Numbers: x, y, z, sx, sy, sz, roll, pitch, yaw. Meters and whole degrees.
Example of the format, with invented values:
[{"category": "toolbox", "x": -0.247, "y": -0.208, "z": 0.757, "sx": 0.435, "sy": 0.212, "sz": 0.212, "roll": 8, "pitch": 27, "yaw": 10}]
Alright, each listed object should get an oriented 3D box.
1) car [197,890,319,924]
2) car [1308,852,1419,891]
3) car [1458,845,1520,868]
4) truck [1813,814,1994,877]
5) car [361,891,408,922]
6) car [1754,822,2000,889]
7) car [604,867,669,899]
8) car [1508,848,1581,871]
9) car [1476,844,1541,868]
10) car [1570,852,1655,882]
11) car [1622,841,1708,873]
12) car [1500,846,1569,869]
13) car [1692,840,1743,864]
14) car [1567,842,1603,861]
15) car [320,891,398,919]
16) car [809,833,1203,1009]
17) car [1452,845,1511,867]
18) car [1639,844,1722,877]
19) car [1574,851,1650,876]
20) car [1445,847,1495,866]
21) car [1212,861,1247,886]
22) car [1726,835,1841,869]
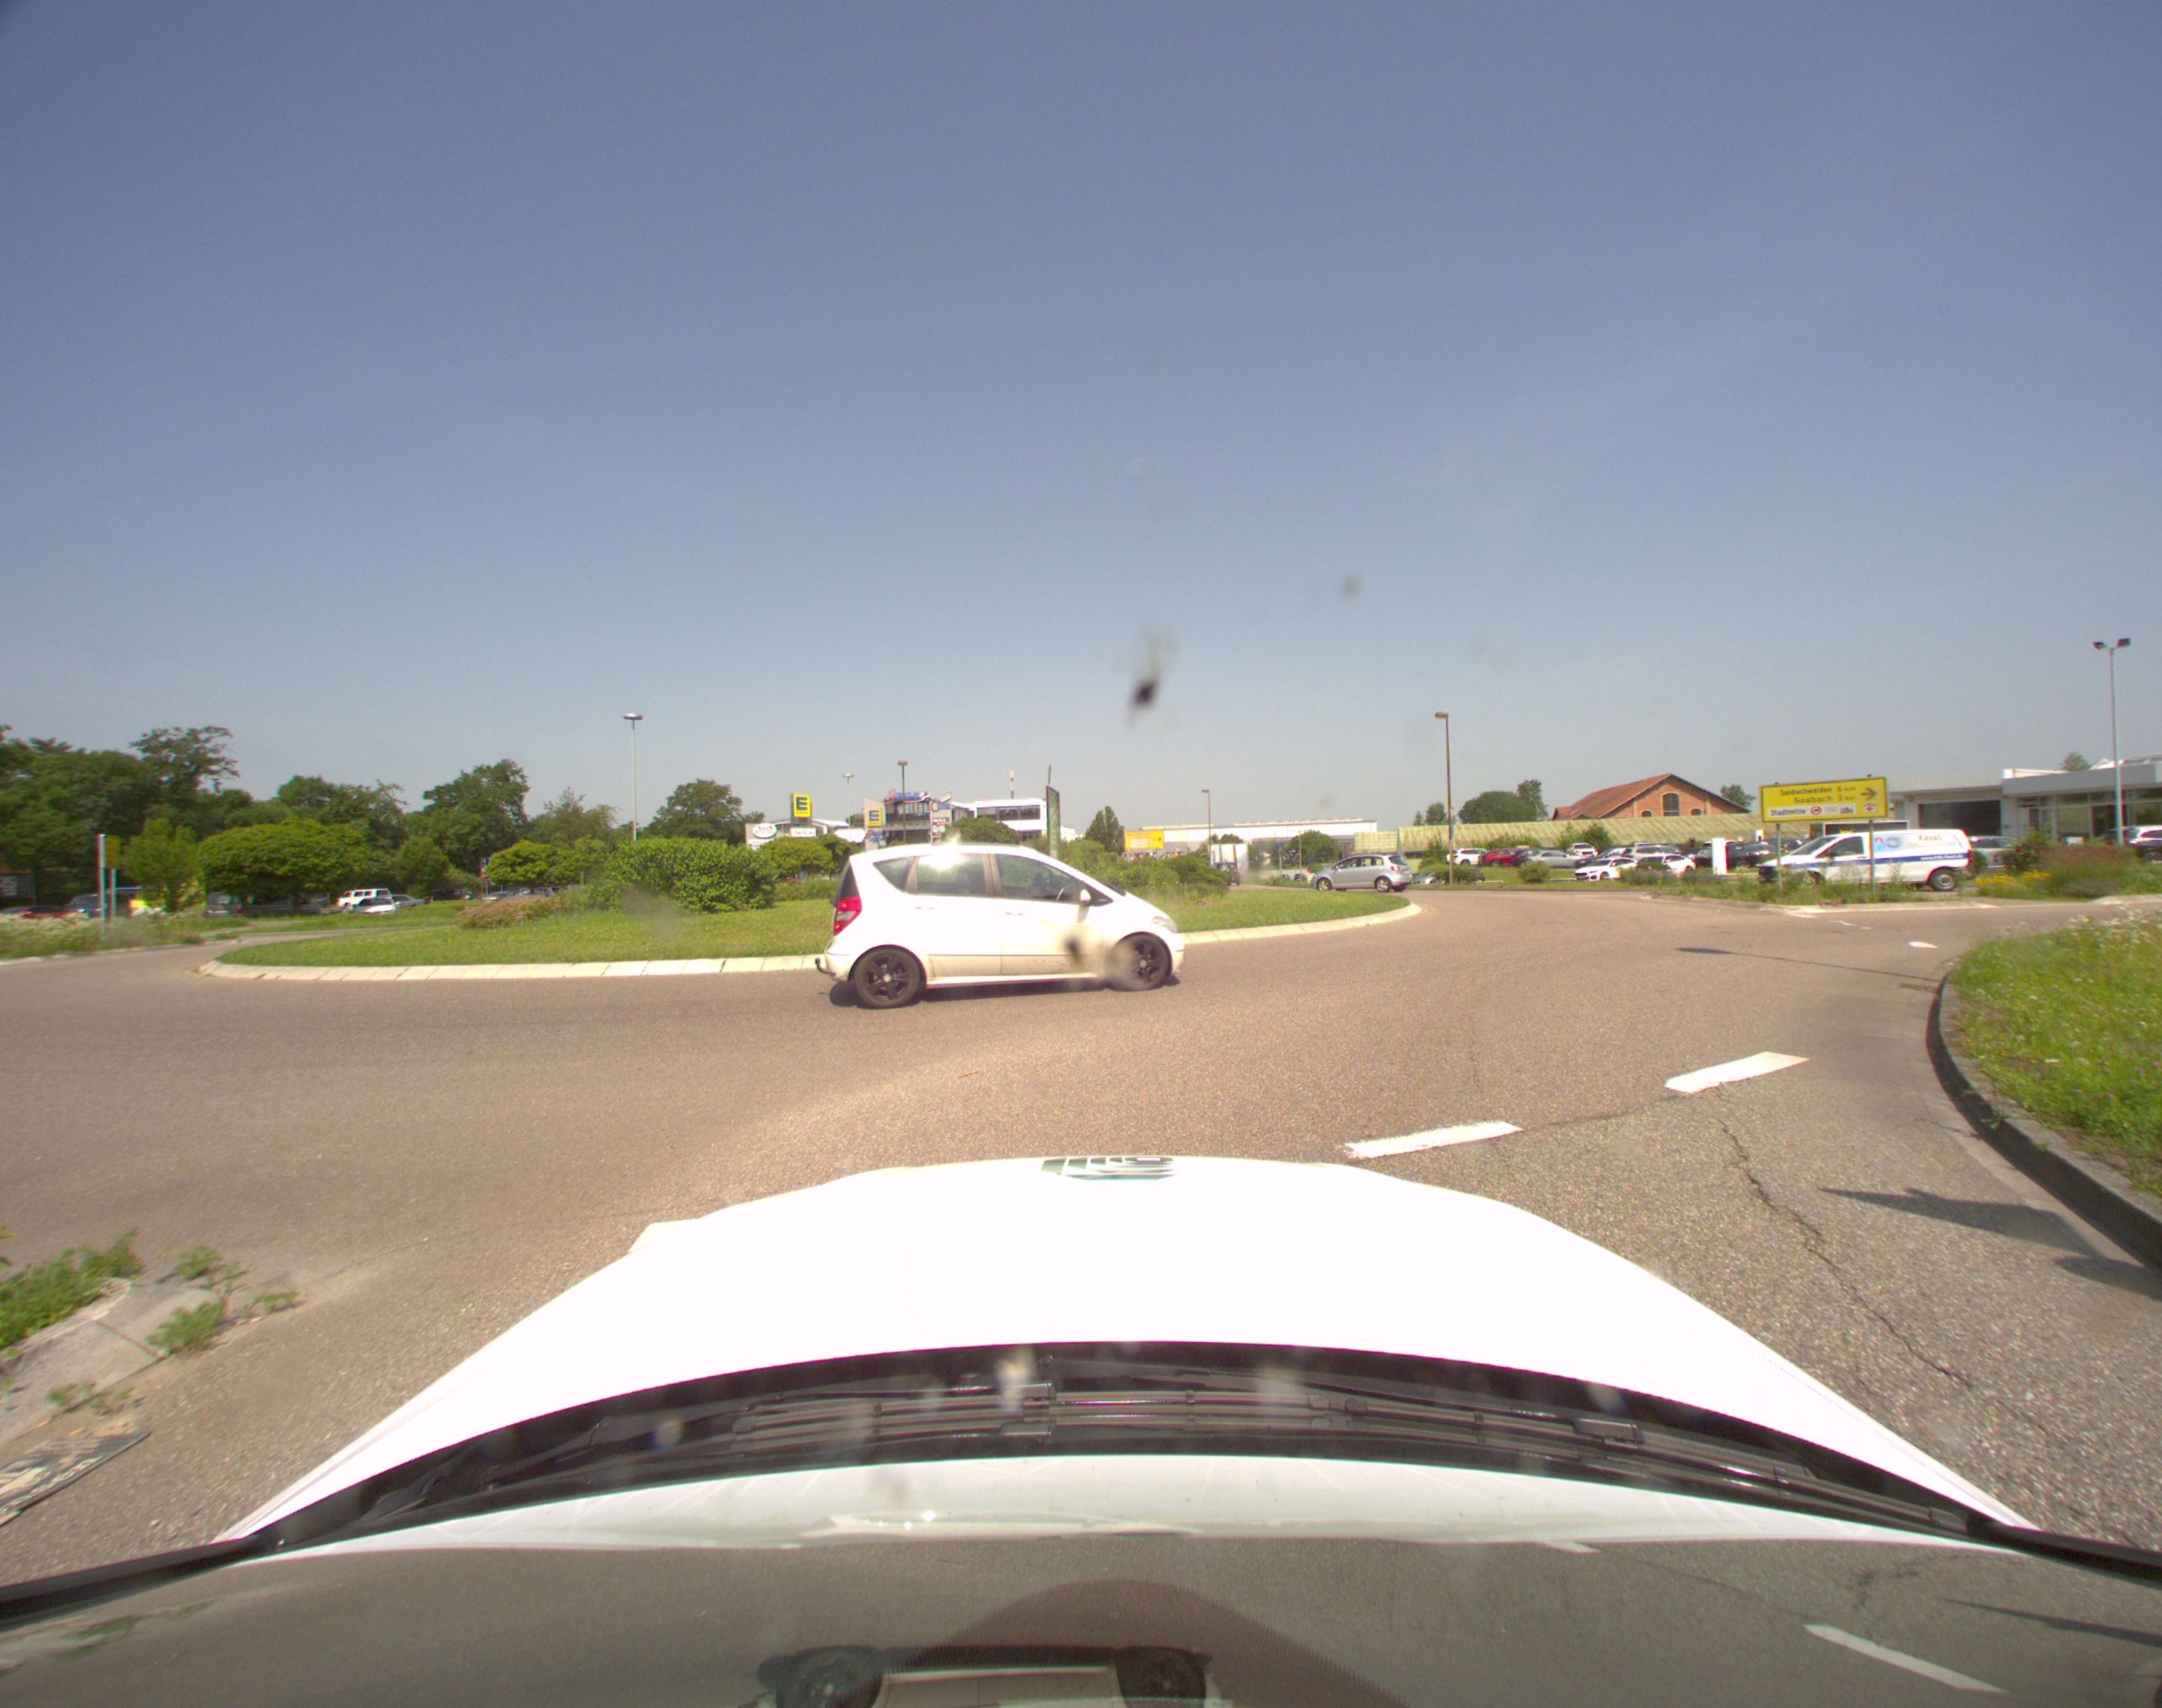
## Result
[{"category": "car", "x": -43.011, "y": 2.735, "z": 42.719, "sx": 1.865, "sy": 1.561, "sz": 4.404, "roll": 0, "pitch": -2, "yaw": -1}, {"category": "car", "x": 11.790, "y": 0.739, "z": 34.048, "sx": 4.033, "sy": 1.530, "sz": 1.796, "roll": -1, "pitch": -2, "yaw": 32}, {"category": "car", "x": 35.014, "y": 0.219, "z": 70.010, "sx": 4.418, "sy": 1.747, "sz": 1.847, "roll": -3, "pitch": -1, "yaw": 17}, {"category": "truck", "x": 38.442, "y": -0.353, "z": 38.287, "sx": 5.559, "sy": 2.665, "sz": 1.960, "roll": -3, "pitch": -1, "yaw": 22}, {"category": "car", "x": -37.409, "y": 2.768, "z": 43.719, "sx": 1.595, "sy": 1.498, "sz": 4.509, "roll": 1, "pitch": -2, "yaw": -45}, {"category": "car", "x": 24.691, "y": 0.096, "z": 25.559, "sx": 5.167, "sy": 1.938, "sz": 1.870, "roll": -1, "pitch": -2, "yaw": 22}, {"category": "car", "x": -29.566, "y": 1.904, "z": 54.317, "sx": 1.677, "sy": 2.014, "sz": 4.010, "roll": -1, "pitch": -2, "yaw": 9}, {"category": "car", "x": 35.124, "y": 0.435, "z": 61.865, "sx": 4.418, "sy": 1.500, "sz": 1.958, "roll": -3, "pitch": -1, "yaw": 17}, {"category": "car", "x": 35.292, "y": 0.194, "z": 67.293, "sx": 4.418, "sy": 1.747, "sz": 1.958, "roll": -3, "pitch": -1, "yaw": 17}, {"category": "car", "x": 32.312, "y": 0.771, "z": 49.548, "sx": 4.574, "sy": 1.571, "sz": 1.758, "roll": -2, "pitch": -2, "yaw": -17}, {"category": "car", "x": 37.532, "y": 0.212, "z": 52.446, "sx": 3.964, "sy": 1.750, "sz": 1.958, "roll": -4, "pitch": -1, "yaw": 17}, {"category": "car", "x": 35.729, "y": 0.284, "z": 64.294, "sx": 4.418, "sy": 1.635, "sz": 1.958, "roll": -3, "pitch": -1, "yaw": 17}, {"category": "car", "x": 45.591, "y": -0.171, "z": 58.279, "sx": 4.286, "sy": 1.586, "sz": 1.640, "roll": -2, "pitch": -1, "yaw": -35}, {"category": "car", "x": 46.287, "y": -0.202, "z": 74.850, "sx": 1.901, "sy": 1.596, "sz": 4.325, "roll": -3, "pitch": -1, "yaw": 19}, {"category": "car", "x": -40.607, "y": 2.835, "z": 45.880, "sx": 2.830, "sy": 1.498, "sz": 1.578, "roll": 0, "pitch": -2, "yaw": -14}, {"category": "car", "x": -0.811, "y": 0.605, "z": 8.915, "sx": 3.883, "sy": 1.603, "sz": 1.779, "roll": -1, "pitch": 1, "yaw": -12}, {"category": "car", "x": 35.592, "y": 0.231, "z": 72.445, "sx": 4.418, "sy": 1.747, "sz": 1.847, "roll": -3, "pitch": -1, "yaw": 17}, {"category": "car", "x": 35.099, "y": 0.385, "z": 47.668, "sx": 4.671, "sy": 1.570, "sz": 1.755, "roll": -4, "pitch": 0, "yaw": -23}, {"category": "car", "x": 35.955, "y": 0.655, "z": 55.249, "sx": 3.960, "sy": 1.526, "sz": 1.960, "roll": -3, "pitch": -1, "yaw": 23}, {"category": "car", "x": 35.744, "y": 0.259, "z": 74.951, "sx": 3.845, "sy": 1.533, "sz": 1.776, "roll": -3, "pitch": -1, "yaw": 17}, {"category": "car", "x": 9.578, "y": 1.267, "z": 52.603, "sx": 1.771, "sy": 1.530, "sz": 4.004, "roll": 0, "pitch": -2, "yaw": 4}, {"category": "car", "x": 39.222, "y": -0.101, "z": 45.626, "sx": 4.377, "sy": 1.500, "sz": 1.958, "roll": -5, "pitch": -3, "yaw": 17}]
